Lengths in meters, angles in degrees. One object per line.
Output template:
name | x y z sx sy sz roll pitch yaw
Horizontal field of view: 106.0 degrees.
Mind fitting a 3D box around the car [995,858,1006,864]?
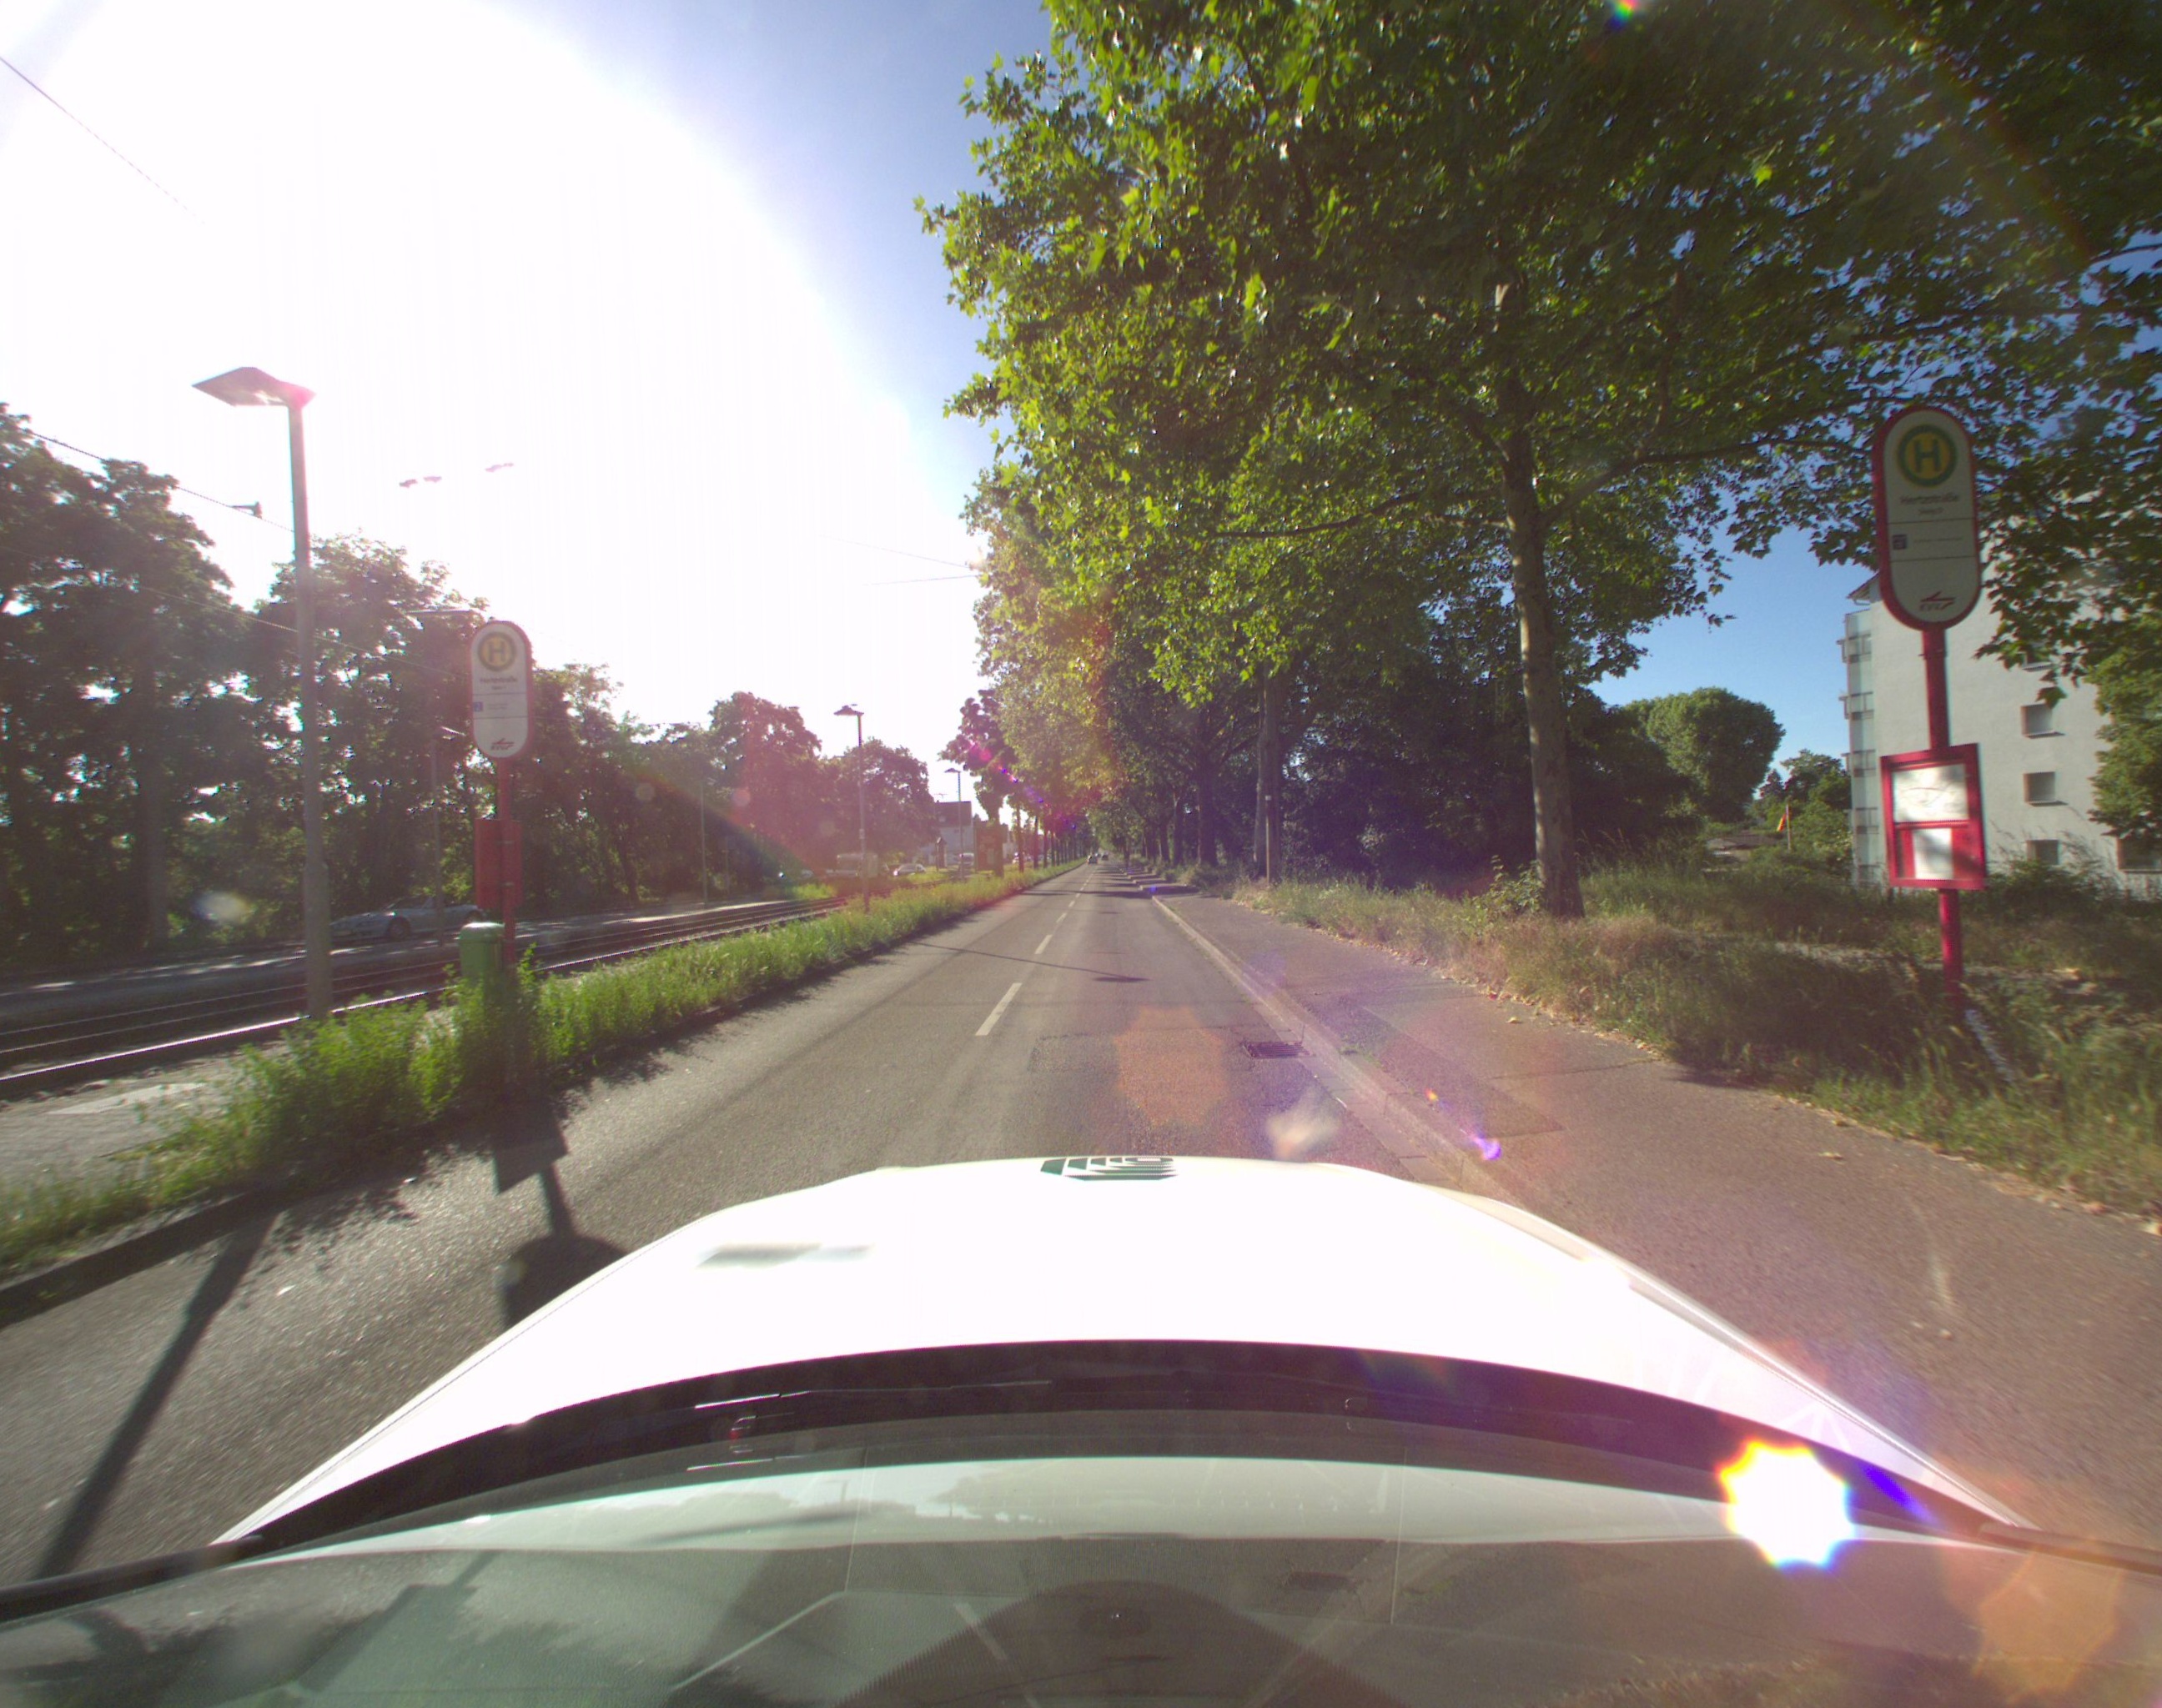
car | -18.213 1.630 184.898 1.914 1.266 4.001 -3 0 1

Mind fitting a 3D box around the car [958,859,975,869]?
car | -17.426 1.533 124.182 1.737 1.496 3.595 -3 0 3

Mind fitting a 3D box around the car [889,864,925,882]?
car | -14.493 1.581 68.190 1.913 1.266 4.003 -3 0 3

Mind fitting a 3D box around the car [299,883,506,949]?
car | -18.907 1.667 23.021 1.985 1.469 4.379 -2 0 3

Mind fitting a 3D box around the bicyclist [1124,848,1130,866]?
bicyclist | 4.560 0.304 80.982 0.532 1.769 0.713 -3 0 0

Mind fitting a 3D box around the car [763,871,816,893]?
car | -19.810 1.912 55.583 1.912 1.266 4.004 -3 0 3

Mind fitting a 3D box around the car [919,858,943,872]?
car | -18.577 1.399 100.903 1.913 1.577 4.003 -3 0 3

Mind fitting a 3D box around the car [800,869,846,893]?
car | -19.357 1.996 61.354 1.912 1.562 4.004 -3 0 4

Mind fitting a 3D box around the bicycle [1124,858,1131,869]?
bicycle | 4.587 0.899 80.915 0.534 1.066 1.433 -3 0 0

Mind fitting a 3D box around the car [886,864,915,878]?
car | -18.181 1.714 82.147 1.913 1.266 4.002 -3 0 2

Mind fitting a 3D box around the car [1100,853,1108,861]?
car | 5.203 0.682 182.414 1.744 1.604 3.752 -2 0 2

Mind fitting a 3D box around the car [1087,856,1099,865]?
car | 1.966 1.039 134.895 1.860 1.486 3.557 -2 0 2

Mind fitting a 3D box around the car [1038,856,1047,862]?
car | -9.886 1.246 207.156 1.914 1.266 4.001 -3 0 1

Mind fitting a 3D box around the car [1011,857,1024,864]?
car | -12.116 1.200 155.619 1.913 1.266 4.003 -3 0 3

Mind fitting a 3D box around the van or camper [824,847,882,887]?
van or camper | -19.019 1.047 68.391 2.580 3.106 6.791 -3 0 2

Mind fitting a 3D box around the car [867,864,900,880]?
car | -18.390 1.673 76.022 1.913 1.266 4.002 -3 0 2

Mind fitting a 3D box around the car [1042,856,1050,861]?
car | -9.669 1.282 227.532 1.914 1.266 4.001 -3 0 1
